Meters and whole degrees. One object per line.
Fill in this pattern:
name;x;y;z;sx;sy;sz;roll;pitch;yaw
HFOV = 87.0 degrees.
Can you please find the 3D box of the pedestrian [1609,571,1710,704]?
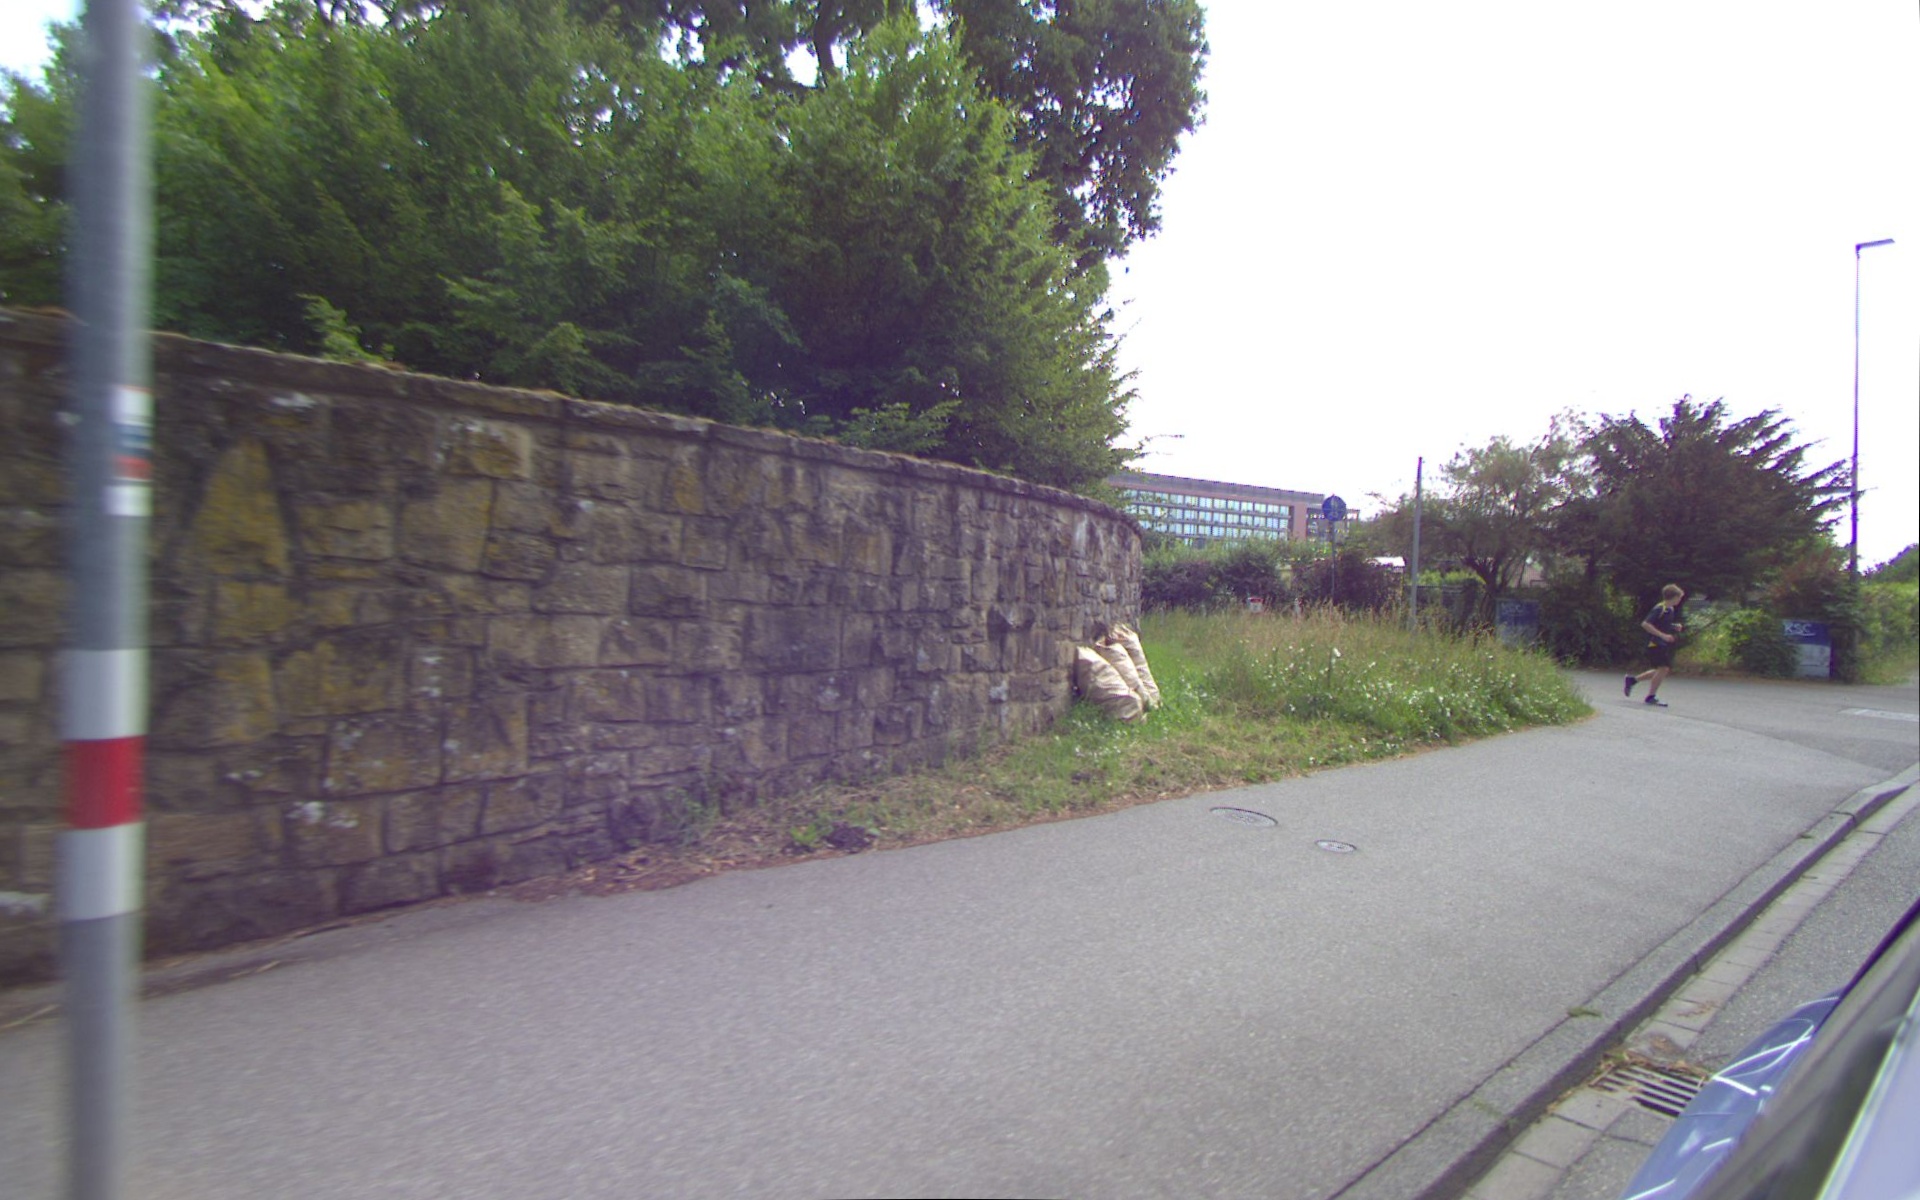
pedestrian;9.194;0.465;13.316;0.612;1.671;0.835;1;2;-23
